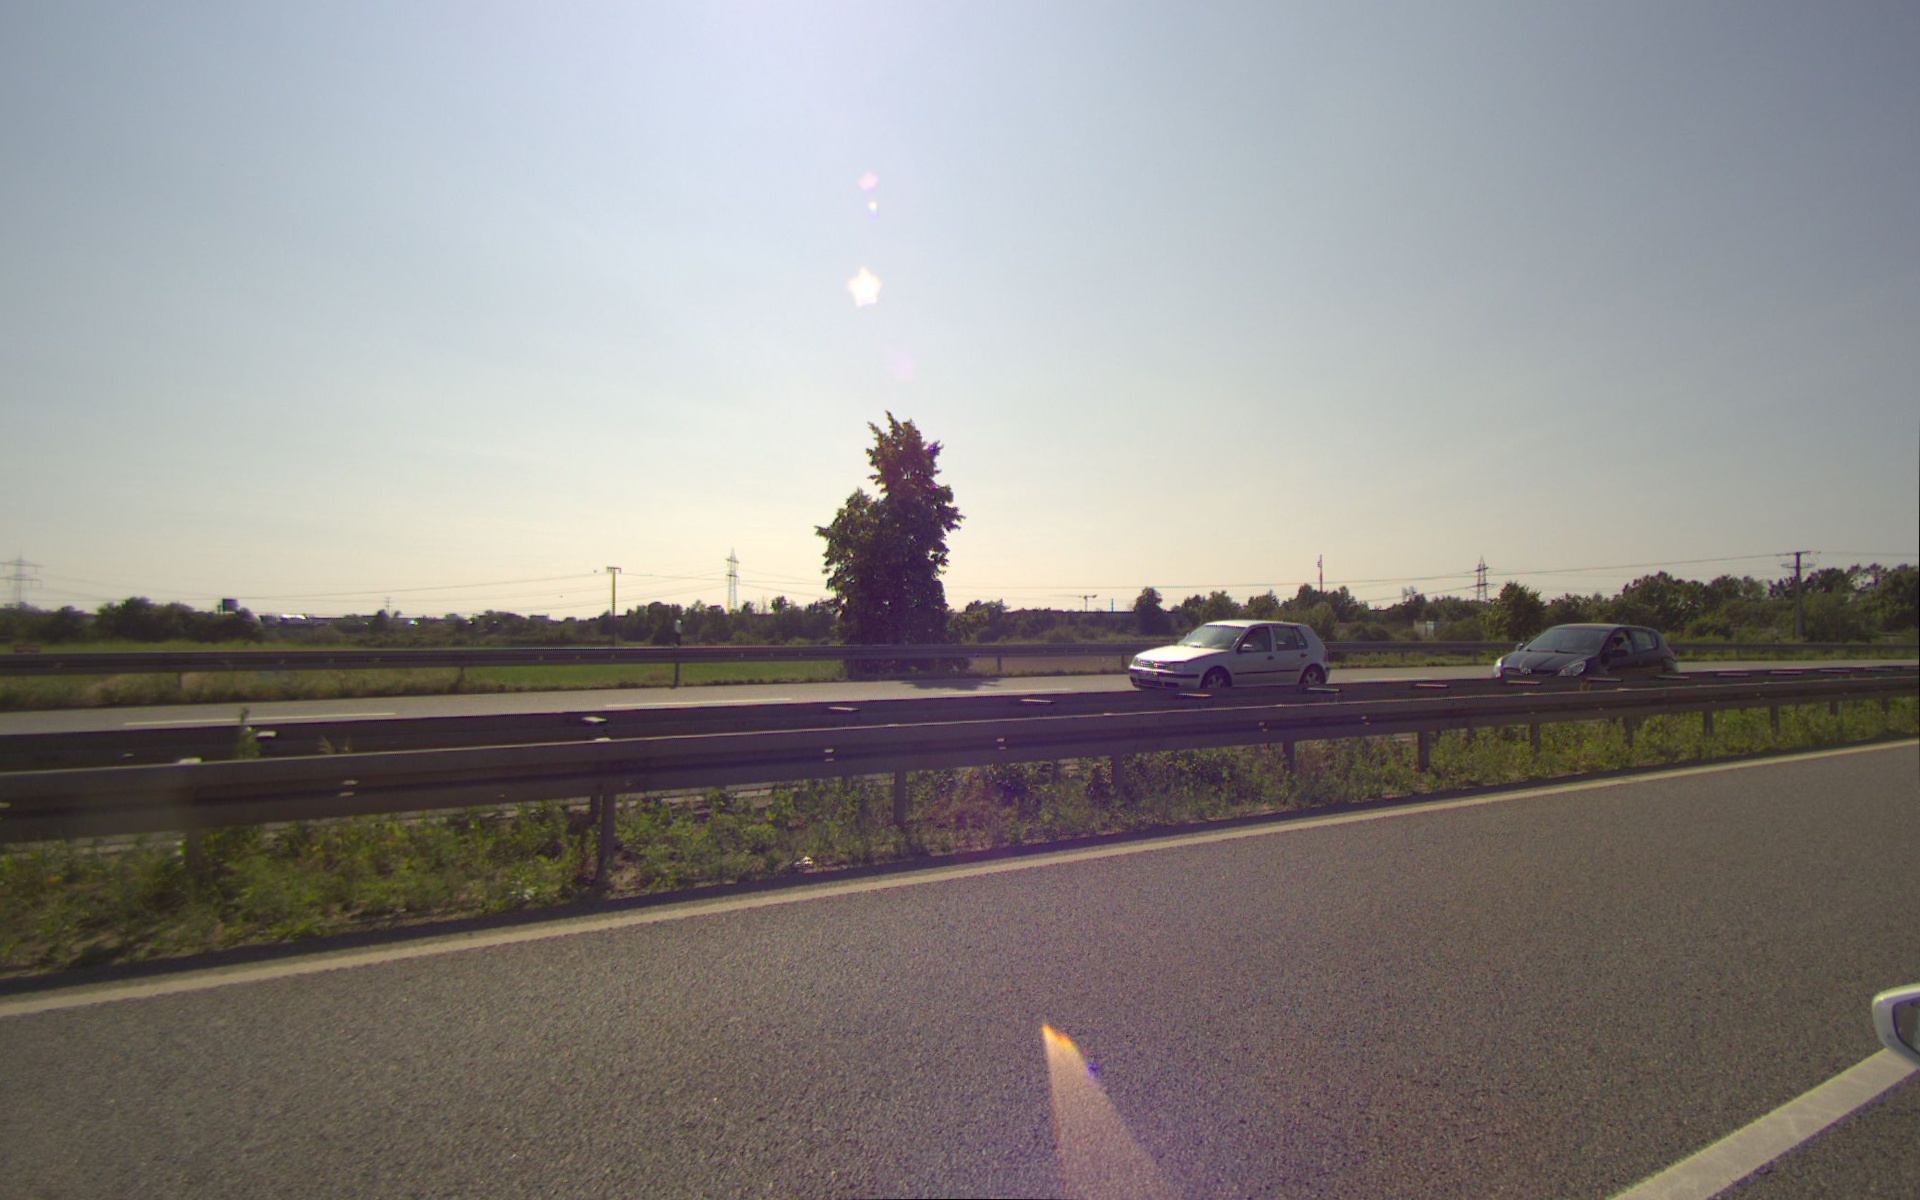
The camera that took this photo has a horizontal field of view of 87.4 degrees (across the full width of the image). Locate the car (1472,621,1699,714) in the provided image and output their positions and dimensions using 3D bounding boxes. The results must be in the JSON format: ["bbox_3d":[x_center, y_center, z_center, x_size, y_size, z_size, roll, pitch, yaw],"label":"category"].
[{"bbox_3d":[11.581,1.183,18.535,4.363,1.490,1.704,1,1,-30],"label":"car"}]

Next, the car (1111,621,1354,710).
[{"bbox_3d":[5.105,1.153,18.676,4.363,1.415,1.812,1,1,-30],"label":"car"}]
